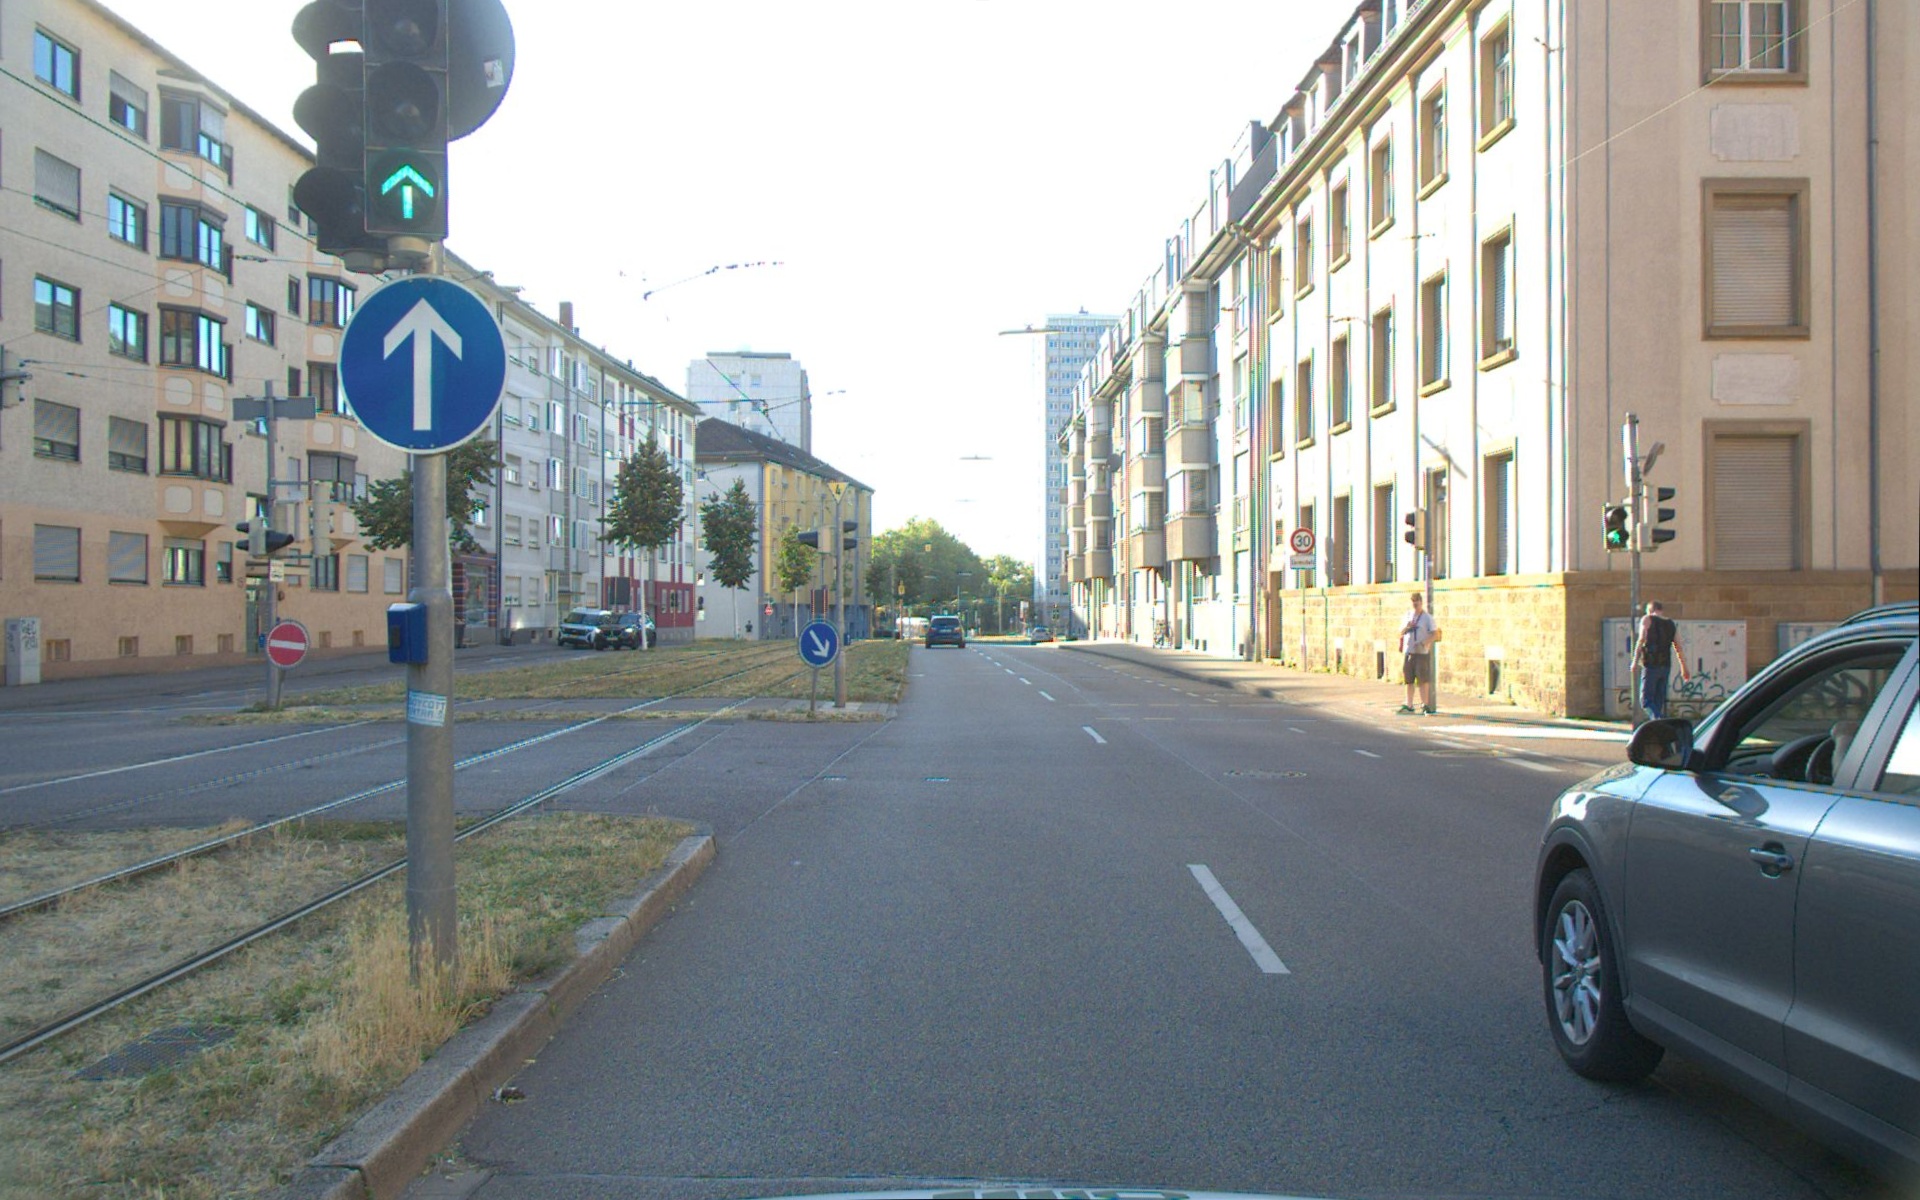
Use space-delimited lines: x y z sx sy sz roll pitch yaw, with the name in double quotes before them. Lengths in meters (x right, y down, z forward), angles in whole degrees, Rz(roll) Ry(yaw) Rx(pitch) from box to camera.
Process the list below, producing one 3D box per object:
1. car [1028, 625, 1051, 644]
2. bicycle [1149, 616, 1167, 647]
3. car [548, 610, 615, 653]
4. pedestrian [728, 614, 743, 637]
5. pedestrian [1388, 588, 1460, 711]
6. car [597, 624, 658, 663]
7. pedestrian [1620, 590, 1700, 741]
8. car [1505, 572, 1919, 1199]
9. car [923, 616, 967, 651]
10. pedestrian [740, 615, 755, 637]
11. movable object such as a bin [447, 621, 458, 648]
"car" 7.077 3.092 147.971 1.952 1.591 4.000 1 -1 1
"bicycle" 7.258 1.167 60.614 0.376 1.115 1.503 -1 -1 -3
"car" -18.136 1.519 79.551 1.952 1.959 4.543 1 -1 3
"pedestrian" -17.364 1.996 127.922 0.942 1.724 1.011 1 -1 4
"pedestrian" 6.956 0.738 24.806 0.818 1.793 0.823 1 -1 -1
"car" -15.115 1.946 75.337 1.858 1.662 4.746 -1 -1 -1
"pedestrian" 8.539 0.791 20.198 0.616 1.789 0.825 1 -1 -1
"car" 2.916 0.762 4.224 1.662 1.580 4.225 2 -1 1
"car" -0.650 1.477 73.874 1.887 1.482 4.326 1 -1 0
"pedestrian" -16.520 2.023 128.467 0.942 1.699 1.011 1 -1 4
"movable object such as a bin" -20.321 1.378 66.209 0.292 1.055 0.441 1 -1 -2
